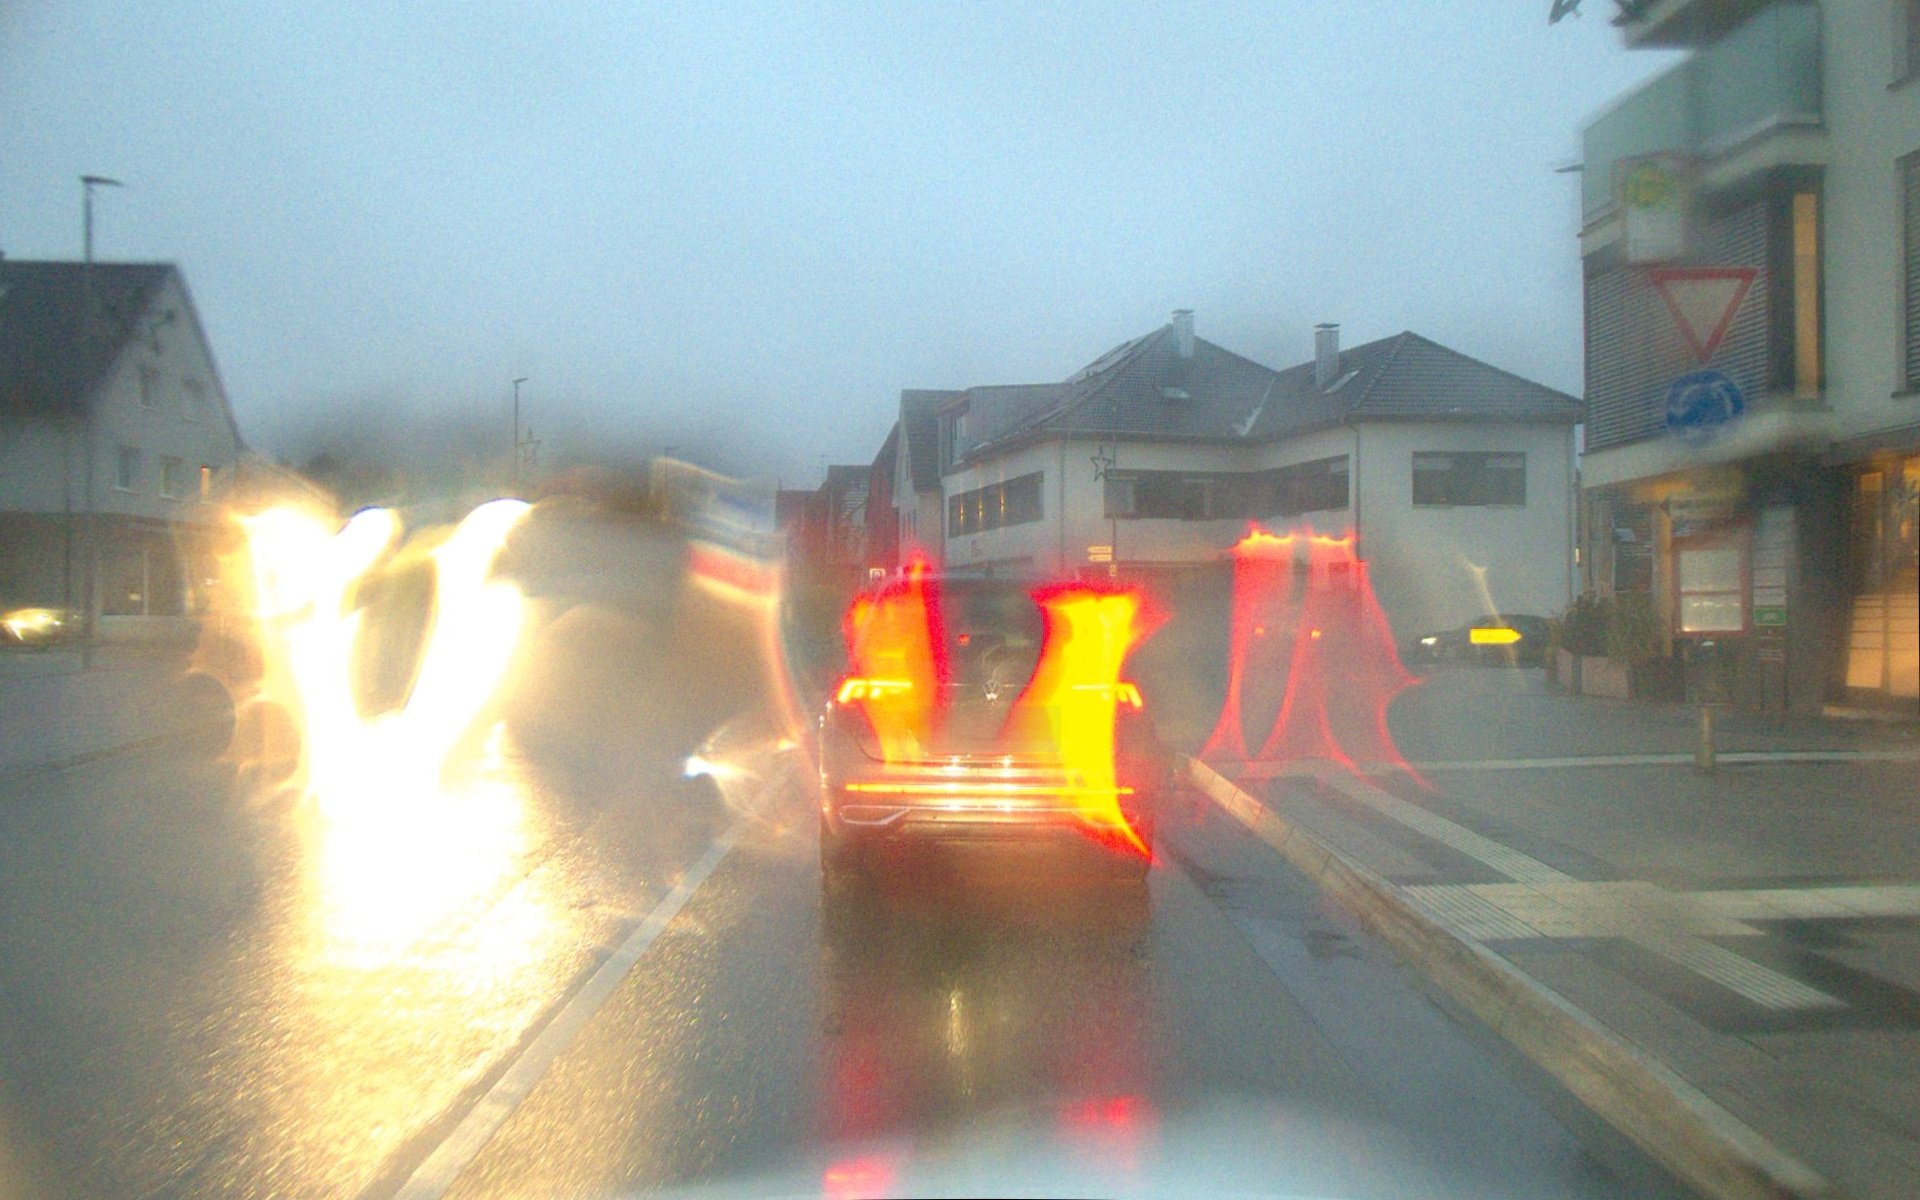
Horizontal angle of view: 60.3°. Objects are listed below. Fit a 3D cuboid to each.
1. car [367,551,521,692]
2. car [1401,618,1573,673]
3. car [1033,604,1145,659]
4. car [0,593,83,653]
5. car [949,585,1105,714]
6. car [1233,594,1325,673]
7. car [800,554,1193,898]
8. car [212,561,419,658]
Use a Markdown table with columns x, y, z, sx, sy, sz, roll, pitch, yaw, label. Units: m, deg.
| x | y | z | sx | sy | sz | roll | pitch | yaw | label |
| --- | --- | --- | --- | --- | --- | --- | --- | --- | --- |
| -7.520 | 0.286 | 23.867 | 1.696 | 1.844 | 4.106 | 1 | 0 | -23 | car |
| 14.434 | 1.265 | 45.452 | 4.137 | 1.408 | 1.849 | 1 | -3 | -3 | car |
| 3.662 | 0.884 | 47.603 | 1.622 | 1.491 | 3.974 | 1 | 0 | -22 | car |
| -24.117 | 0.591 | 41.148 | 3.745 | 1.447 | 1.716 | 0 | -2 | 10 | car |
| 0.987 | 0.592 | 22.288 | 1.740 | 1.566 | 3.935 | 0 | 0 | 8 | car |
| 7.556 | 0.746 | 39.501 | 1.783 | 1.656 | 4.003 | -2 | 1 | 6 | car |
| 0.070 | 0.603 | 9.938 | 1.878 | 1.643 | 3.947 | 1 | 0 | -3 | car |
| -14.575 | 0.190 | 37.316 | 4.799 | 2.049 | 1.993 | 0 | 0 | 34 | car |
